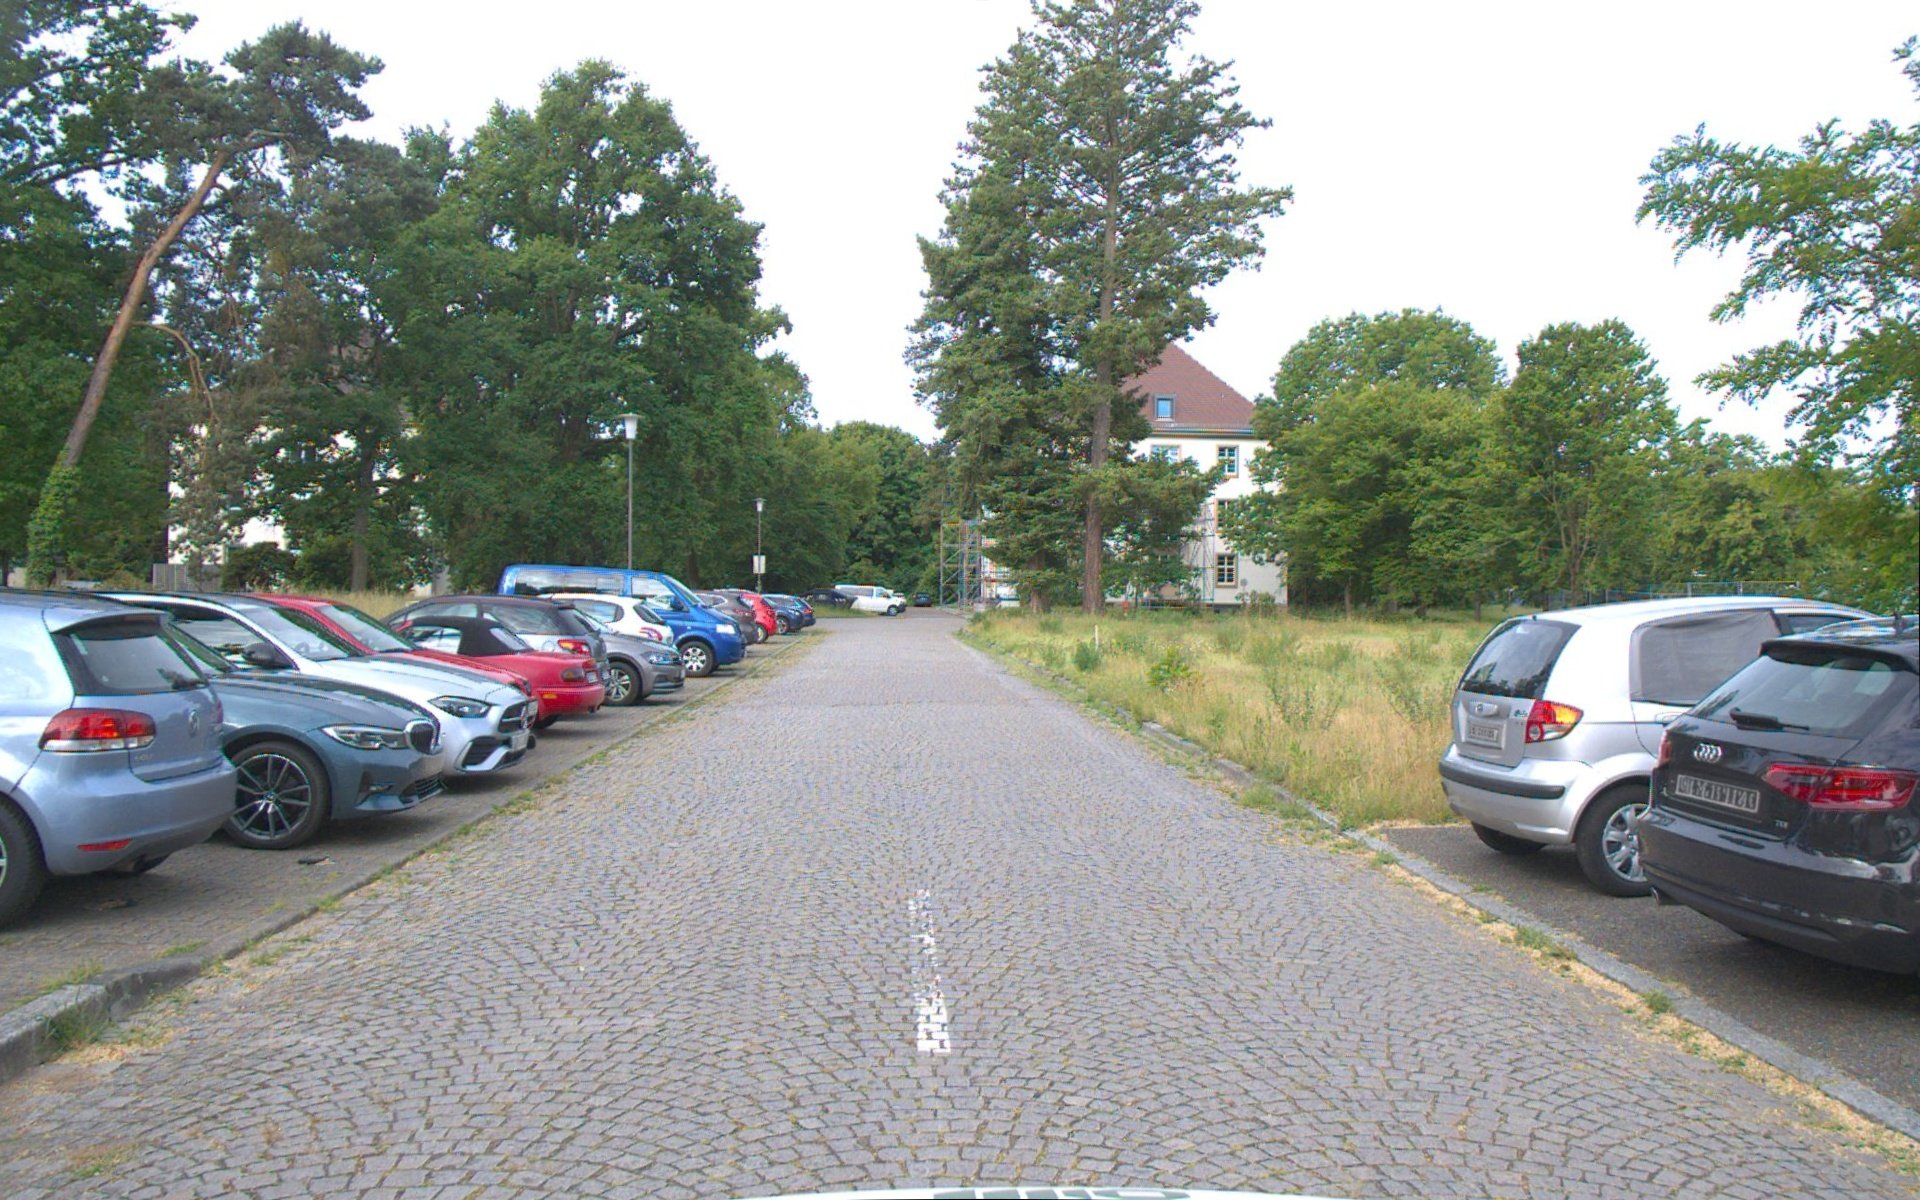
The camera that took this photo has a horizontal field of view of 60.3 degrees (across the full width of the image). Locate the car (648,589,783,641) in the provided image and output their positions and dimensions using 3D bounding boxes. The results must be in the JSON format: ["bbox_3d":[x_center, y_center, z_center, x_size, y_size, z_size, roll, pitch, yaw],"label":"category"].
[{"bbox_3d":[-7.480,0.456,50.889,3.975,1.552,1.903,0,0,-4],"label":"car"}]

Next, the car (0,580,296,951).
[{"bbox_3d":[-5.482,0.682,7.842,3.908,1.570,1.904,0,0,-4],"label":"car"}]

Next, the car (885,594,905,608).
[{"bbox_3d":[-7.082,0.085,180.805,2.077,1.548,3.997,1,0,-4],"label":"car"}]

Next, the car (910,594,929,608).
[{"bbox_3d":[-4.474,0.094,181.237,1.913,1.548,3.997,1,0,-4],"label":"car"}]

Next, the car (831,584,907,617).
[{"bbox_3d":[-6.331,0.034,114.793,5.132,2.206,1.998,1,0,-5],"label":"car"}]

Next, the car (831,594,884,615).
[{"bbox_3d":[-7.298,0.338,117.337,3.715,1.420,1.998,1,0,-6],"label":"car"}]

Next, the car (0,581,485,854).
[{"bbox_3d":[-5.347,0.671,10.542,4.168,1.575,1.933,0,0,-7],"label":"car"}]

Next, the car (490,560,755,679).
[{"bbox_3d":[-6.361,0.358,31.678,4.687,2.159,2.114,0,0,-4],"label":"car"}]

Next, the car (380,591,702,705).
[{"bbox_3d":[-5.842,0.653,23.447,4.081,1.517,1.864,0,0,-1],"label":"car"}]

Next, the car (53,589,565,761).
[{"bbox_3d":[-5.975,0.670,15.595,4.083,1.502,1.863,0,0,-4],"label":"car"}]

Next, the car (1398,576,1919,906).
[{"bbox_3d":[4.772,0.682,9.419,3.994,1.541,1.802,-2,0,-5],"label":"car"}]

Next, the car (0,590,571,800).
[{"bbox_3d":[-5.460,0.707,13.276,4.288,1.534,1.934,0,0,-5],"label":"car"}]

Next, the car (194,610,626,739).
[{"bbox_3d":[-5.849,0.776,17.976,4.082,1.289,1.830,0,0,-2],"label":"car"}]

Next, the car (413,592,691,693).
[{"bbox_3d":[-6.417,0.654,26.377,3.986,1.523,1.845,0,0,-2],"label":"car"}]

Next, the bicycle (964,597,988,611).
[{"bbox_3d":[1.485,0.344,154.003,2.194,1.276,0.634,1,0,-1],"label":"bicycle"}]

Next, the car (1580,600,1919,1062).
[{"bbox_3d":[4.889,0.731,6.713,3.994,1.478,1.883,-2,0,-5],"label":"car"}]

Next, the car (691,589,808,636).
[{"bbox_3d":[-7.740,0.456,61.159,4.145,1.604,1.886,2,0,-4],"label":"car"}]

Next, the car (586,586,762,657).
[{"bbox_3d":[-6.947,0.513,40.536,4.085,1.650,1.984,0,0,-6],"label":"car"}]

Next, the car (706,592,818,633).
[{"bbox_3d":[-7.840,0.486,65.853,4.216,1.486,1.974,2,0,-2],"label":"car"}]

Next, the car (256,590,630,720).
[{"bbox_3d":[-6.329,0.652,20.609,4.082,1.508,1.845,0,0,-2],"label":"car"}]
